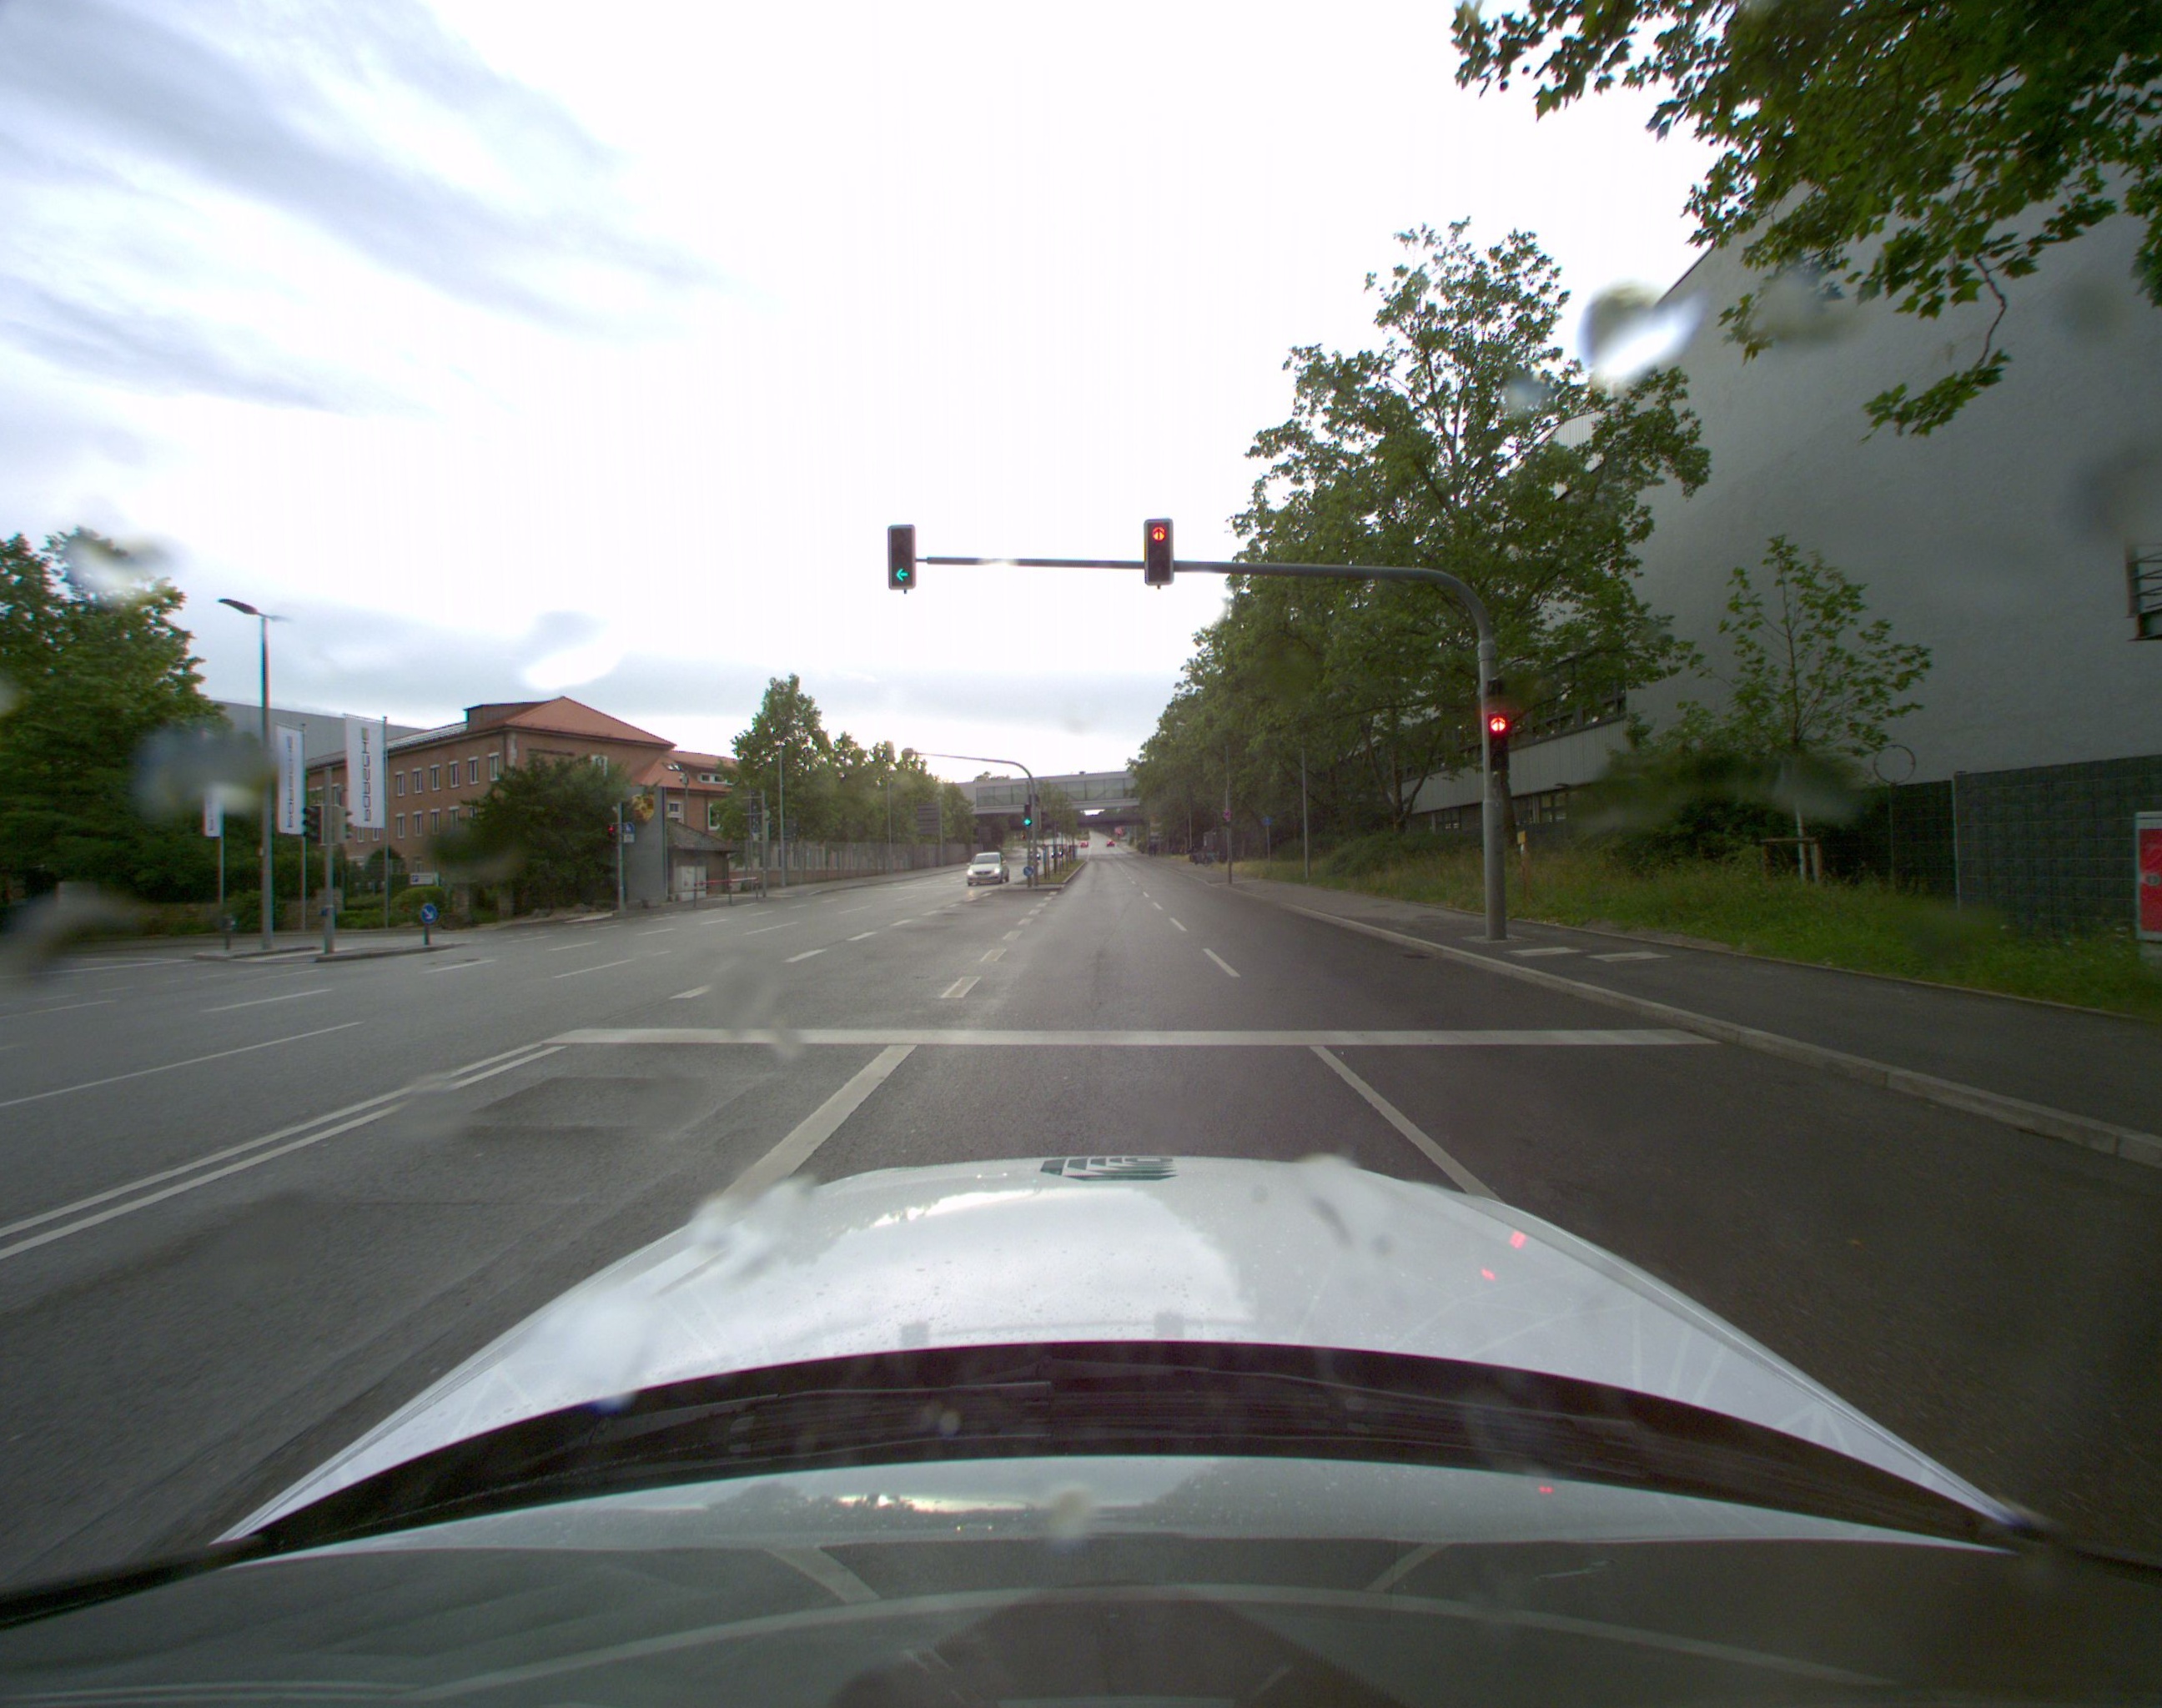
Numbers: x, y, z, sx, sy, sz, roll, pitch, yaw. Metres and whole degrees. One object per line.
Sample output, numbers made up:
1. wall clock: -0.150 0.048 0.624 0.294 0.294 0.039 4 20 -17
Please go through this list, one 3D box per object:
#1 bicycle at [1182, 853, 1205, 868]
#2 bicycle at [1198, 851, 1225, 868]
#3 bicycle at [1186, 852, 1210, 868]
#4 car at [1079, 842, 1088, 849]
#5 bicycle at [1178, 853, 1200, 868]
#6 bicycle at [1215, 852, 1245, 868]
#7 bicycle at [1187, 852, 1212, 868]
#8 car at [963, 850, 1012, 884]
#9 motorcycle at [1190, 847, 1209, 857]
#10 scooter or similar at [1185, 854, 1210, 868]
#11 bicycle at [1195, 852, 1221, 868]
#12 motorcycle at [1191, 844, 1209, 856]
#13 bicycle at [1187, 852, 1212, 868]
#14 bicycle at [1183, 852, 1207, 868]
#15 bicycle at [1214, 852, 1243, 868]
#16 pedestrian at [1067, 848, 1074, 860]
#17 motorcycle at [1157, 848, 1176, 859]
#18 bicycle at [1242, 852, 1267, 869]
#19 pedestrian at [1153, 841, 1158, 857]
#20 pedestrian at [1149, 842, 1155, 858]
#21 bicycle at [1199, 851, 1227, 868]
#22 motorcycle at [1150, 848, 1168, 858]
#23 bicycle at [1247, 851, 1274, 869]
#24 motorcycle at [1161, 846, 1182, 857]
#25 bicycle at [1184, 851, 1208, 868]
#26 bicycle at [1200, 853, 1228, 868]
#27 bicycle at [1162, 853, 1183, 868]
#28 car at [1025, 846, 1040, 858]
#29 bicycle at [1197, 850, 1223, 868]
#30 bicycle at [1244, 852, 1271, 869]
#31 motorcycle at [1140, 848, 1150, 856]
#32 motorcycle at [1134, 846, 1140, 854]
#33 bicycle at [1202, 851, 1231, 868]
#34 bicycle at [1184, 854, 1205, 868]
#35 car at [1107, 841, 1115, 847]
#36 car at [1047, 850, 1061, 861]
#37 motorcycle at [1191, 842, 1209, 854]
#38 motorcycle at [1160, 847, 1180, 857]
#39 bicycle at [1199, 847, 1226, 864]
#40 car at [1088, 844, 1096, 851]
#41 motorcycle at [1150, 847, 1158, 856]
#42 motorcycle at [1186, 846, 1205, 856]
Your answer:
1. bicycle: 9.928 0.558 71.794 1.982 1.328 0.576 1 -1 2
2. bicycle: 9.952 0.438 61.994 1.982 1.242 0.541 1 -1 2
3. bicycle: 10.230 0.538 71.075 1.982 1.328 0.576 1 -1 2
4. car: 0.683 -2.176 209.659 1.986 1.762 4.002 1 -1 2
5. bicycle: 9.987 0.602 75.324 1.955 1.328 0.654 1 -1 2
6. bicycle: 10.326 0.431 56.505 1.982 1.094 0.541 1 -1 2
7. bicycle: 9.864 0.495 67.742 1.982 1.328 0.576 1 -1 2
8. car: -4.777 0.648 42.013 1.870 1.624 3.780 -2 0 2
9. motorcycle: 15.107 -0.290 103.754 2.354 1.202 0.724 -3 0 9
10. scooter or similar: 9.531 0.543 66.627 1.982 1.138 0.541 1 -1 2
11. bicycle: 9.877 0.461 63.510 1.982 1.242 0.541 1 -1 2
12. motorcycle: 16.010 -0.504 109.606 2.354 1.476 0.724 -3 0 9
13. bicycle: 9.558 0.494 65.843 1.982 1.242 0.541 1 -1 2
14. bicycle: 9.570 0.505 68.559 1.982 1.328 0.576 1 -1 2
15. bicycle: 10.347 0.440 57.074 1.982 1.094 0.541 1 -1 2
16. pedestrian: -1.669 0.024 131.227 0.852 2.004 0.871 -2 0 -11
17. motorcycle: 10.983 -0.059 104.219 2.354 1.202 0.724 -3 0 9
18. bicycle: 14.011 0.508 65.788 1.982 1.328 0.576 1 -1 2
19. pedestrian: 9.512 -0.585 103.985 0.619 2.013 0.606 -3 0 2
20. pedestrian: 9.115 -0.556 104.652 0.619 2.013 0.606 -3 0 2
21. bicycle: 9.861 0.422 60.739 1.982 1.233 0.541 1 -1 2
22. motorcycle: 10.419 -0.173 108.637 2.354 1.202 0.724 -3 0 9
23. bicycle: 13.742 0.453 62.411 1.982 1.328 0.576 1 -1 2
24. motorcycle: 10.879 -0.294 97.854 2.354 1.202 0.724 -3 0 9
25. bicycle: 9.899 0.471 70.229 1.982 1.430 0.723 1 -1 2
26. bicycle: 9.823 0.478 60.156 1.982 1.094 0.541 1 -1 2
27. bicycle: 8.636 0.615 77.089 1.955 1.328 0.654 1 -1 2
28. car: -7.081 -0.330 119.137 1.870 1.624 3.780 -2 0 2
29. bicycle: 9.948 0.385 62.816 1.982 1.340 0.541 1 -1 2
30. bicycle: 13.991 0.489 64.594 1.982 1.328 0.576 1 -1 2
31. motorcycle: 10.097 -0.298 128.220 0.792 1.311 2.363 -2 0 -16
32. motorcycle: 10.159 -0.707 147.390 0.787 1.533 2.376 -3 0 0
33. bicycle: 9.718 0.396 58.552 1.982 1.216 0.541 1 -1 2
34. bicycle: 10.897 0.653 78.049 1.955 1.328 0.654 1 -1 2
35. car: 7.577 -2.521 205.897 1.868 1.497 4.070 1 -1 2
36. car: -4.189 0.257 128.884 1.870 1.624 3.780 -2 0 2
37. motorcycle: 16.236 -0.837 110.825 2.354 1.476 0.724 -3 0 9
38. motorcycle: 10.914 -0.241 99.982 2.354 1.202 0.724 -3 0 9
39. bicycle: 9.917 0.124 61.380 1.982 1.242 0.541 1 -1 2
40. car: 2.935 -1.682 216.715 1.877 1.762 3.970 1 -1 2
41. motorcycle: 11.046 -0.343 123.098 0.789 1.311 2.371 -3 0 -6
42. motorcycle: 14.280 -0.358 101.630 2.354 1.202 0.724 -3 0 9
